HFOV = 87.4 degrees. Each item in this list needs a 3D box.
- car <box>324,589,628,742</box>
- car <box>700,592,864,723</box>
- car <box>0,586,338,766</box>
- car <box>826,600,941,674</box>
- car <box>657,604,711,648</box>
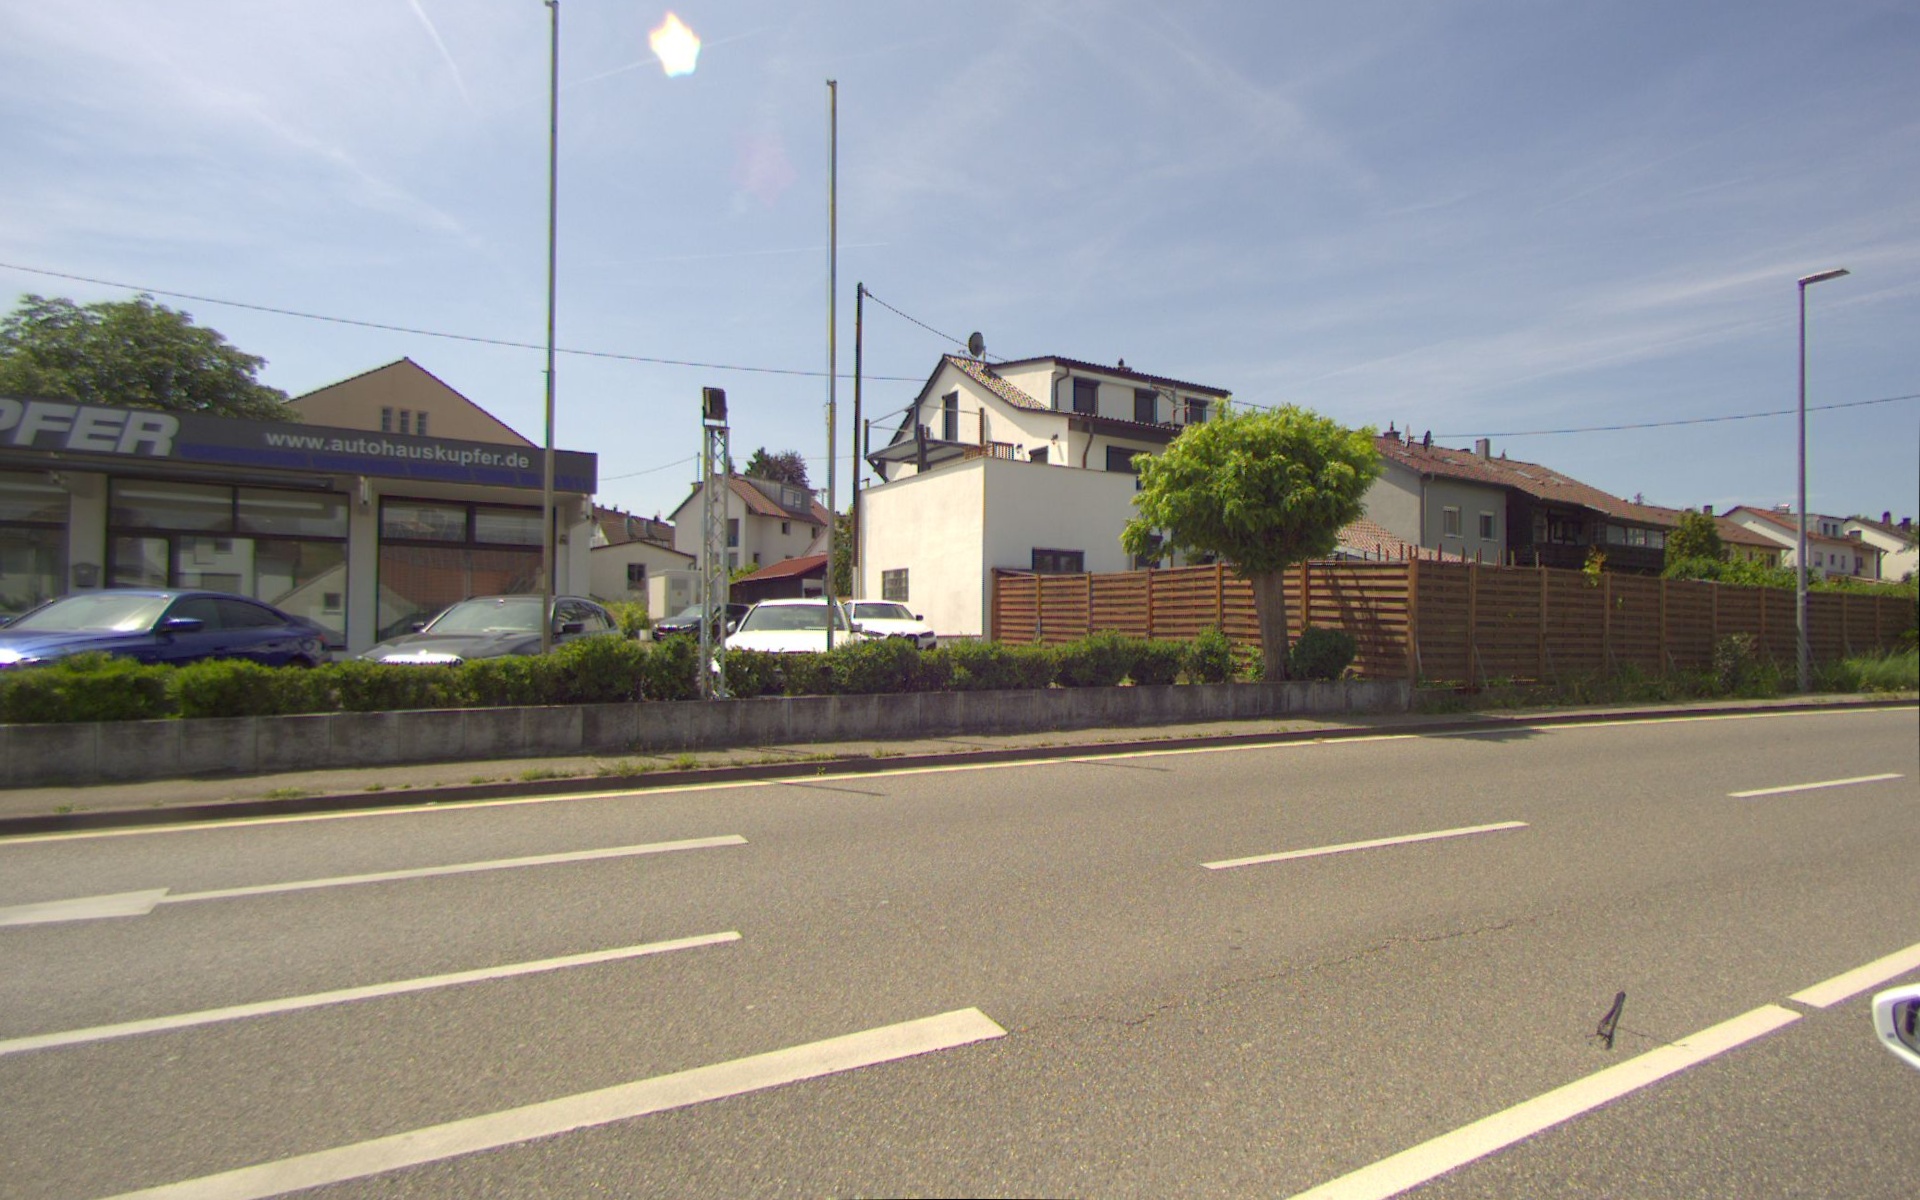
[{"bbox_3d":[-5.518,0.668,12.158,1.863,1.467,4.339,2,0,-5],"label":"car"},{"bbox_3d":[-2.262,0.683,13.811,1.822,1.467,4.339,2,0,-5],"label":"car"},{"bbox_3d":[-8.775,0.626,10.519,1.821,1.467,4.342,2,0,-1],"label":"car"},{"bbox_3d":[-1.859,0.789,23.168,1.805,1.530,3.985,1,0,-17],"label":"car"},{"bbox_3d":[-9.662,0.871,34.970,1.685,1.420,3.985,1,0,-17],"label":"car"}]
